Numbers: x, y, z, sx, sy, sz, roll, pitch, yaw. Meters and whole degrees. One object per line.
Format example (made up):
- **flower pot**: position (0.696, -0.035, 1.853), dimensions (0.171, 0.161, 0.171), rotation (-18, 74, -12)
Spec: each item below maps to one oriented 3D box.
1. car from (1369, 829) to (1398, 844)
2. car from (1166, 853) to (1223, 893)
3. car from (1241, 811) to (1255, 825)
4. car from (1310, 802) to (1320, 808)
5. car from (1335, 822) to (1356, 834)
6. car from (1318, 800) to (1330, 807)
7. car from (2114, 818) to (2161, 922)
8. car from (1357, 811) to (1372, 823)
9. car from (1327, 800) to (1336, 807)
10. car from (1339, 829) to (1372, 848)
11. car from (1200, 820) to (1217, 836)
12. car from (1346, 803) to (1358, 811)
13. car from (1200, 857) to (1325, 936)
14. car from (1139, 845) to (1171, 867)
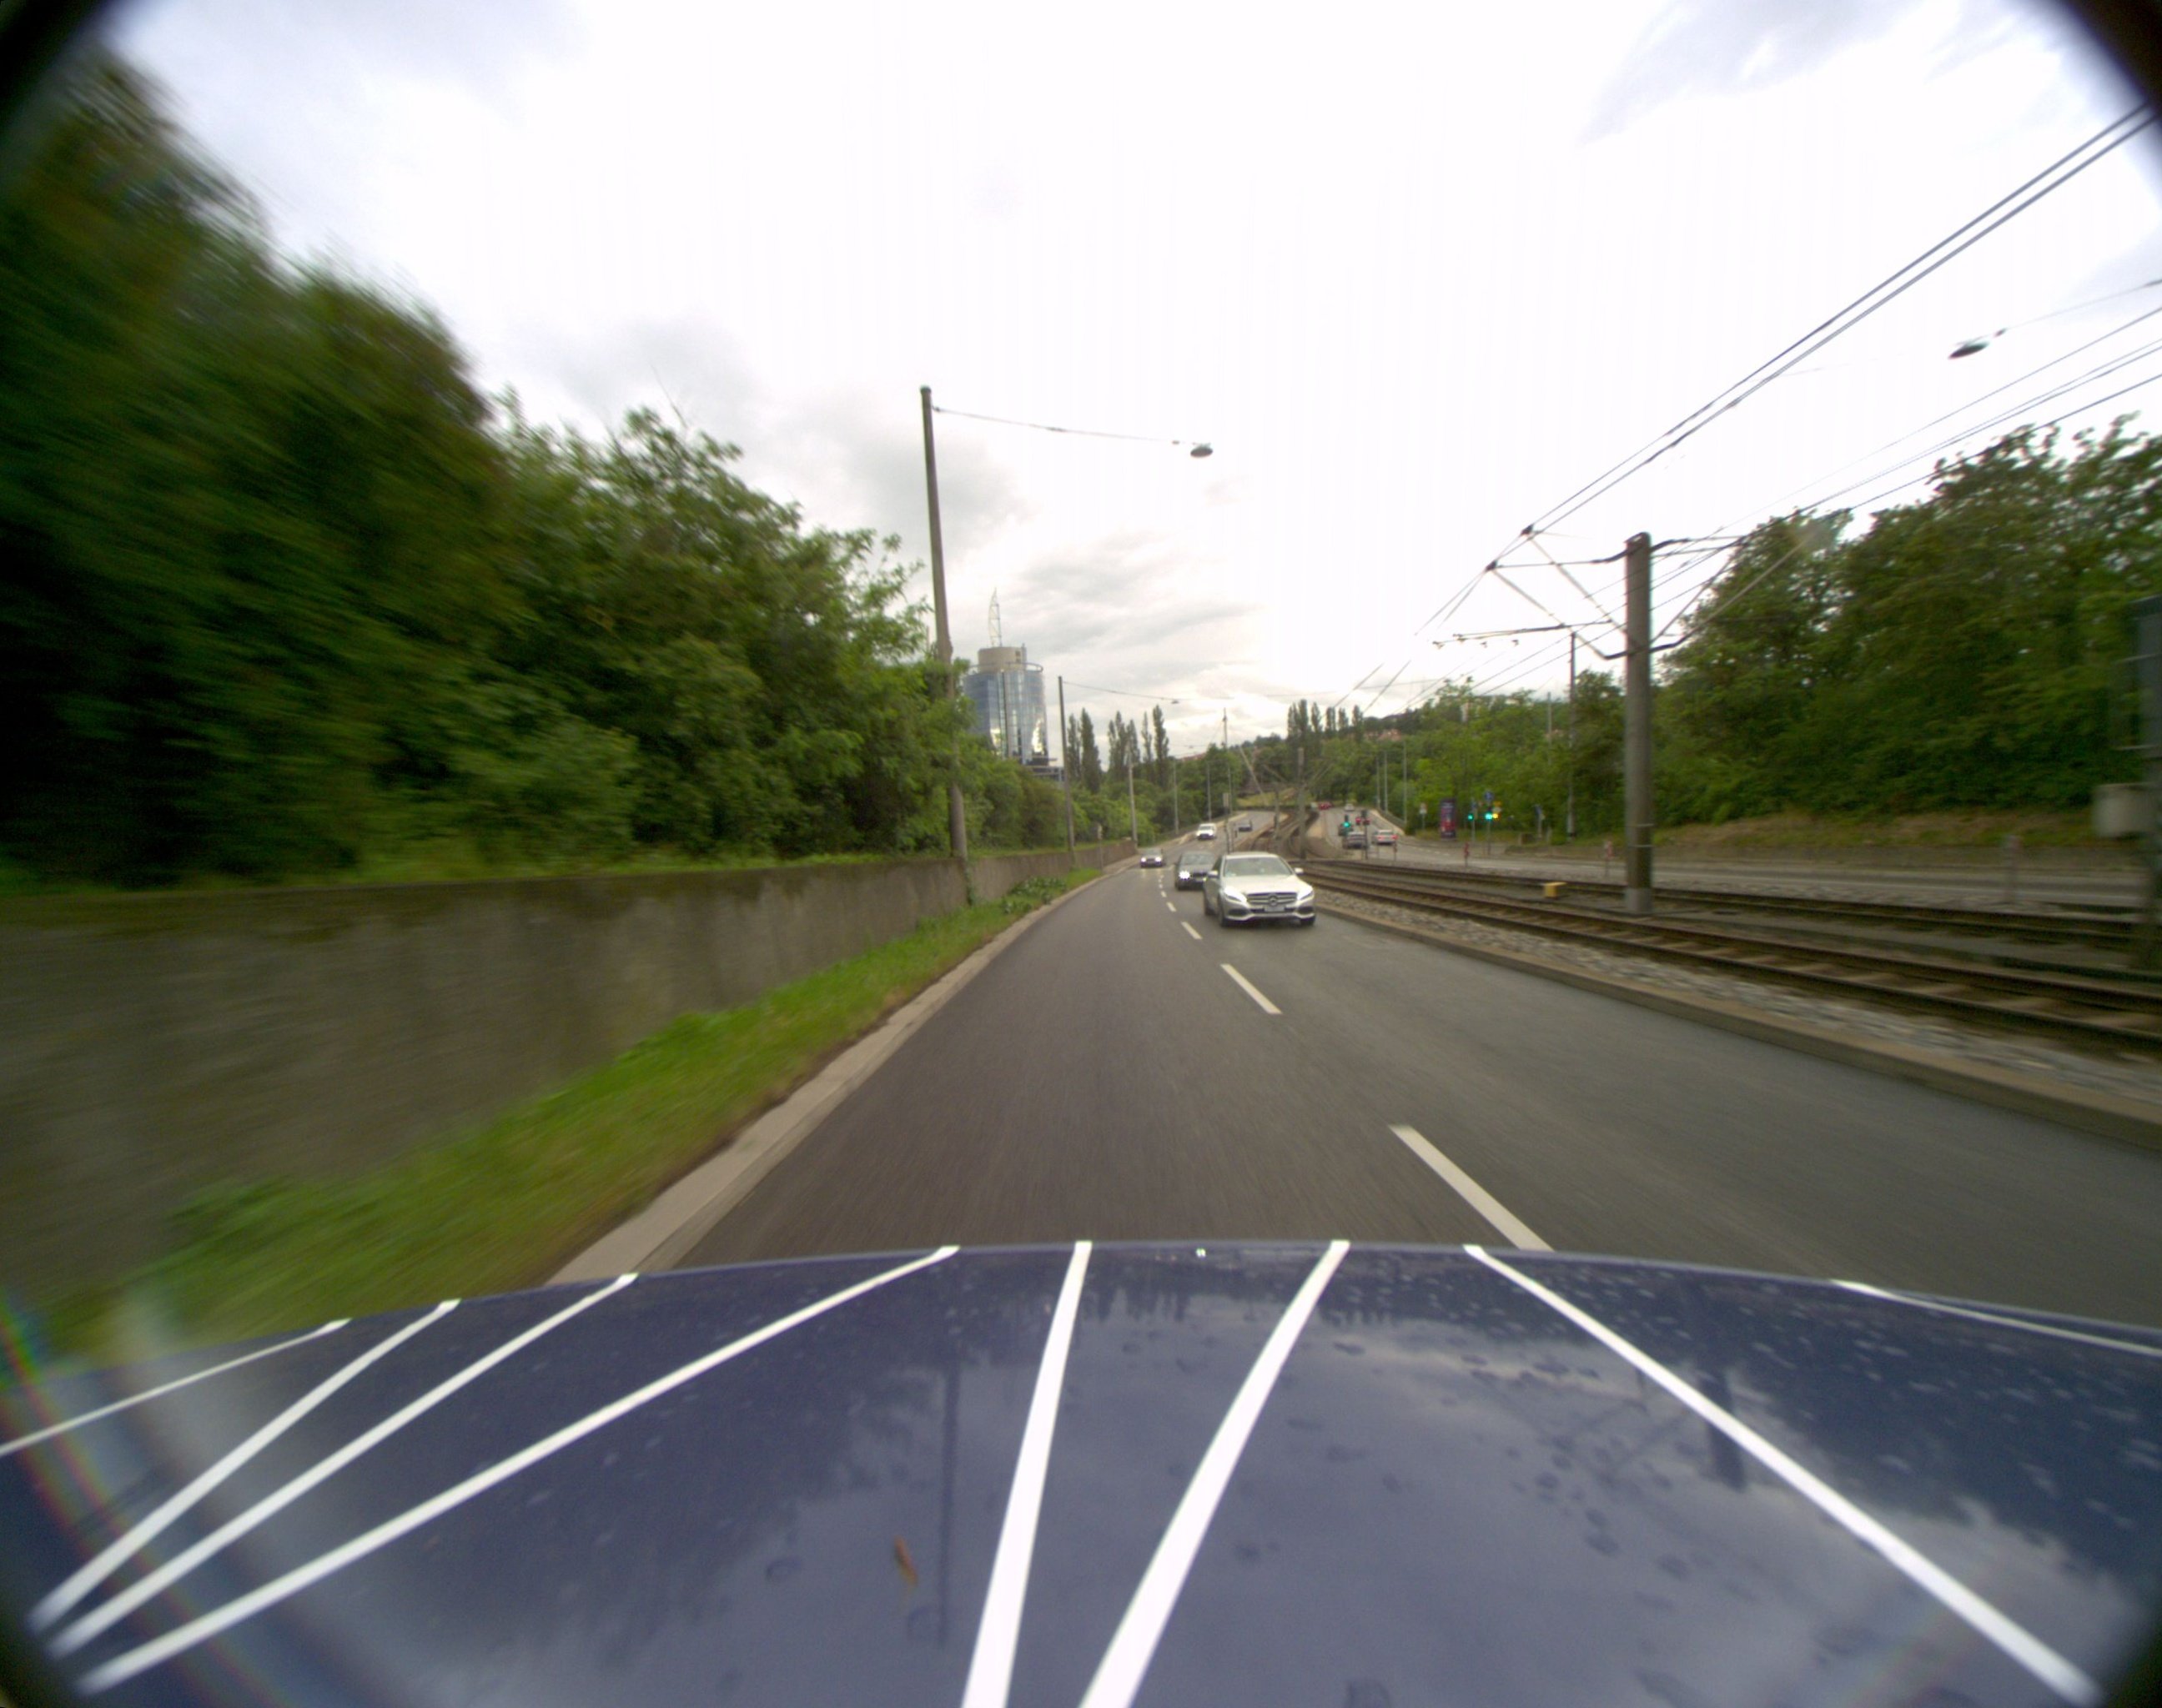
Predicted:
- **car**: position (29.336, -1.713, 73.732), dimensions (1.822, 1.372, 4.709), rotation (-1, 1, 12)
- **car**: position (4.361, 0.683, 29.707), dimensions (1.735, 1.344, 4.000), rotation (-3, 1, 2)
- **car**: position (23.567, -5.127, 107.184), dimensions (1.766, 1.806, 4.003), rotation (-3, 1, 14)
- **car**: position (58.905, -12.348, 191.168), dimensions (1.733, 1.430, 4.490), rotation (-2, 6, 10)
- **car**: position (30.772, -3.044, 88.448), dimensions (1.635, 1.377, 3.896), rotation (-1, 2, 9)
- **car**: position (56.763, -11.831, 177.522), dimensions (1.851, 1.589, 4.731), rotation (-1, 4, 8)
- **car**: position (15.553, 0.197, 8.813), dimensions (1.710, 1.406, 4.032), rotation (-3, 1, 3)
- **car**: position (40.326, -5.293, 108.220), dimensions (1.718, 1.451, 4.277), rotation (-2, 4, 18)
- **car**: position (62.208, -12.507, 188.597), dimensions (1.971, 1.589, 5.186), rotation (-1, 5, 15)
- **car**: position (24.688, -1.430, 68.503), dimensions (1.865, 1.431, 4.856), rotation (-3, 3, 9)
- **car**: position (15.872, -3.219, 94.487), dimensions (1.766, 1.806, 4.003), rotation (-3, 1, 14)
- **car**: position (56.607, -9.815, 158.853), dimensions (1.824, 1.507, 4.529), rotation (-2, 5, 14)
- **car**: position (3.664, 0.789, 16.075), dimensions (1.871, 1.348, 4.060), rotation (-2, 1, 3)
- **car**: position (5.769, 0.118, 59.072), dimensions (1.766, 1.492, 4.003), rotation (-2, 1, 15)
